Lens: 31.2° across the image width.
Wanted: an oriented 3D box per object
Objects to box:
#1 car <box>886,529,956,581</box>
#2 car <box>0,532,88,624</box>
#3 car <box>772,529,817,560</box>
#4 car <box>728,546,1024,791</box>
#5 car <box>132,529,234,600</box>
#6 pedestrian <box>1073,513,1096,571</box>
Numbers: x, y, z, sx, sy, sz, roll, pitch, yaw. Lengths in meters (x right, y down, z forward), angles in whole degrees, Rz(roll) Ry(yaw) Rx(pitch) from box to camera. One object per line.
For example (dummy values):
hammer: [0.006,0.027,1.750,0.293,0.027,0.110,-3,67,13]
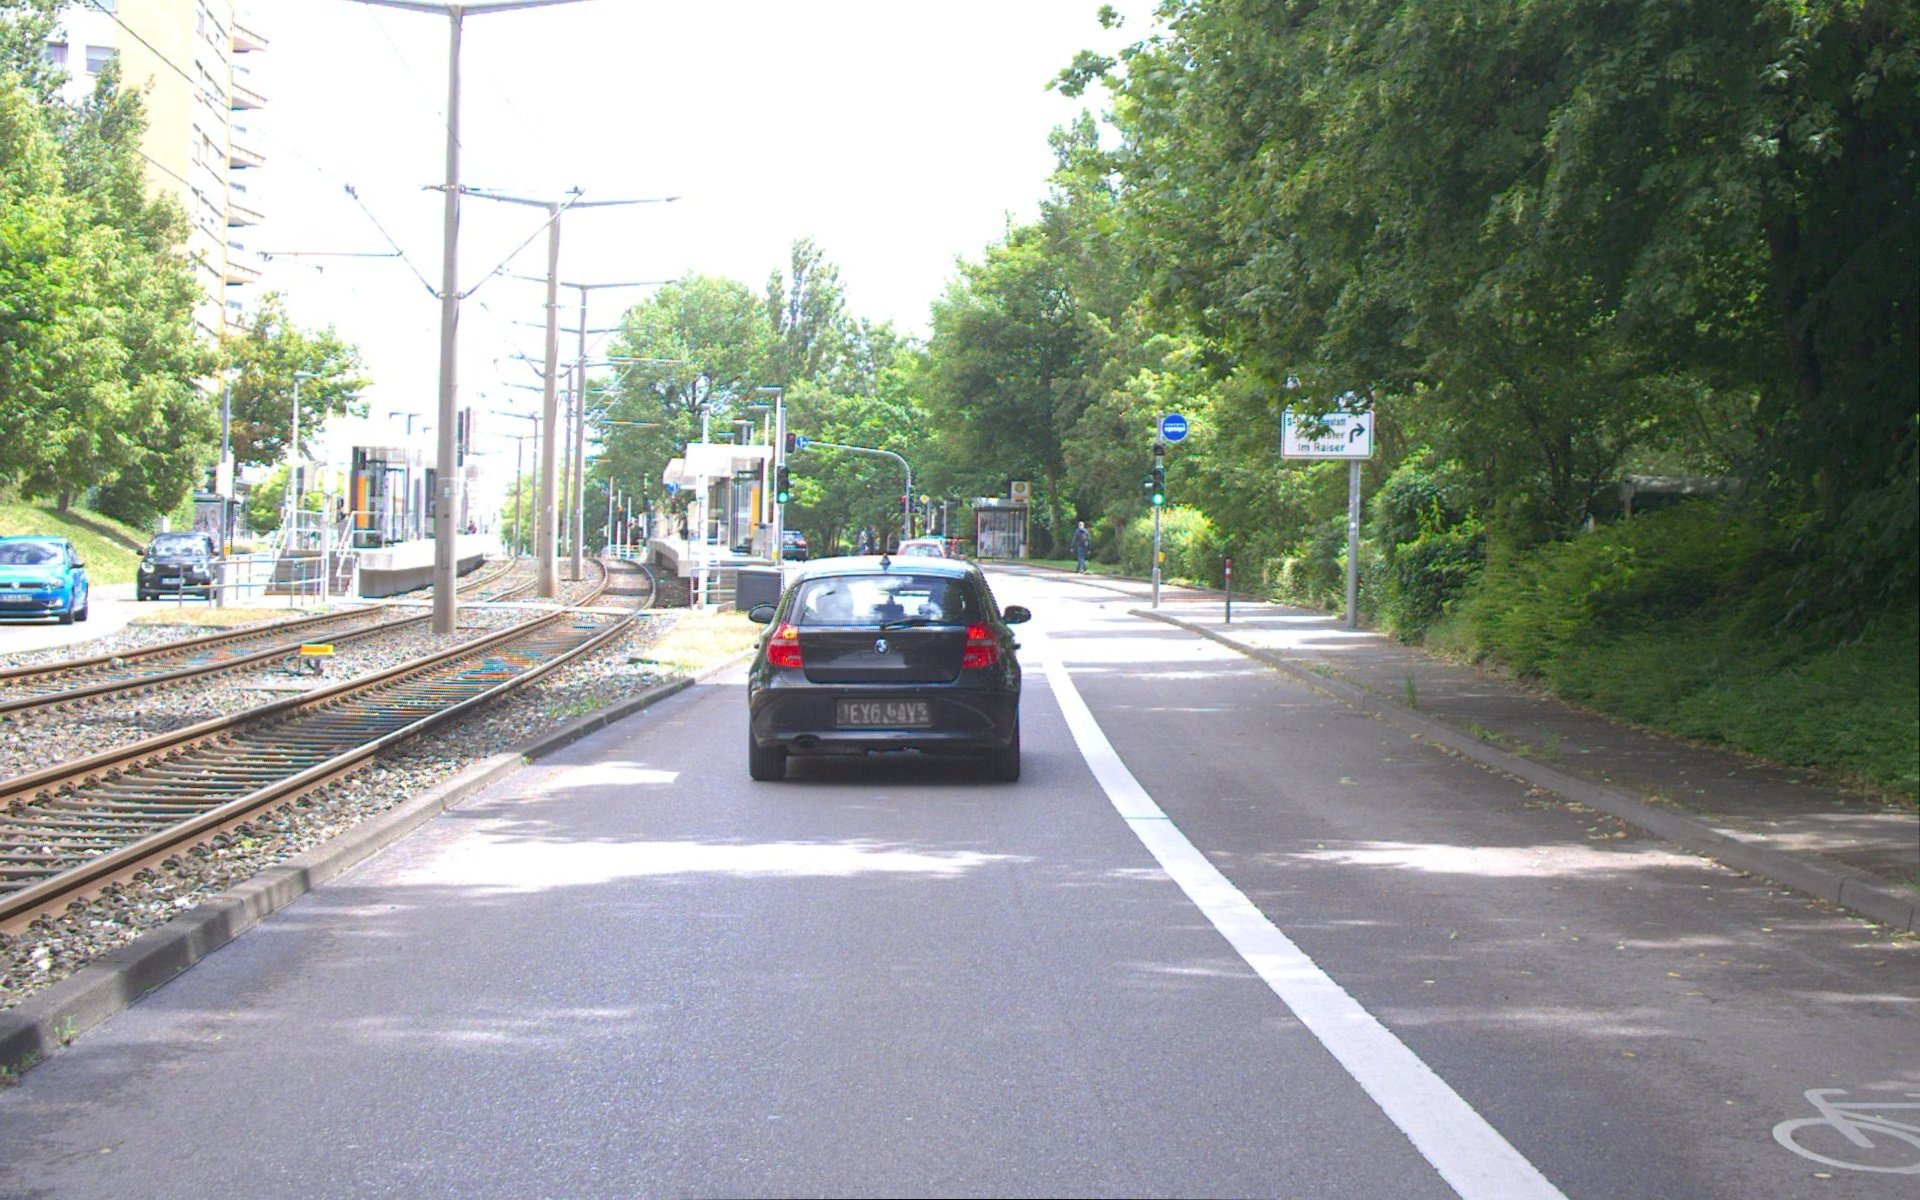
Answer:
car: [-1.156,-1.324,100.124,1.781,1.454,3.922,1,1,-4]
car: [-15.354,-0.389,56.604,1.715,1.437,3.944,0,1,-11]
car: [-7.890,-2.653,163.792,1.909,1.454,4.003,1,1,-6]
car: [-0.584,0.383,22.770,1.781,1.454,3.921,0,1,-2]
car: [-17.555,-0.816,77.769,1.715,1.559,3.698,1,1,-4]
pedestrian: [4.361,-2.041,120.434,0.740,2.007,0.681,1,1,1]
